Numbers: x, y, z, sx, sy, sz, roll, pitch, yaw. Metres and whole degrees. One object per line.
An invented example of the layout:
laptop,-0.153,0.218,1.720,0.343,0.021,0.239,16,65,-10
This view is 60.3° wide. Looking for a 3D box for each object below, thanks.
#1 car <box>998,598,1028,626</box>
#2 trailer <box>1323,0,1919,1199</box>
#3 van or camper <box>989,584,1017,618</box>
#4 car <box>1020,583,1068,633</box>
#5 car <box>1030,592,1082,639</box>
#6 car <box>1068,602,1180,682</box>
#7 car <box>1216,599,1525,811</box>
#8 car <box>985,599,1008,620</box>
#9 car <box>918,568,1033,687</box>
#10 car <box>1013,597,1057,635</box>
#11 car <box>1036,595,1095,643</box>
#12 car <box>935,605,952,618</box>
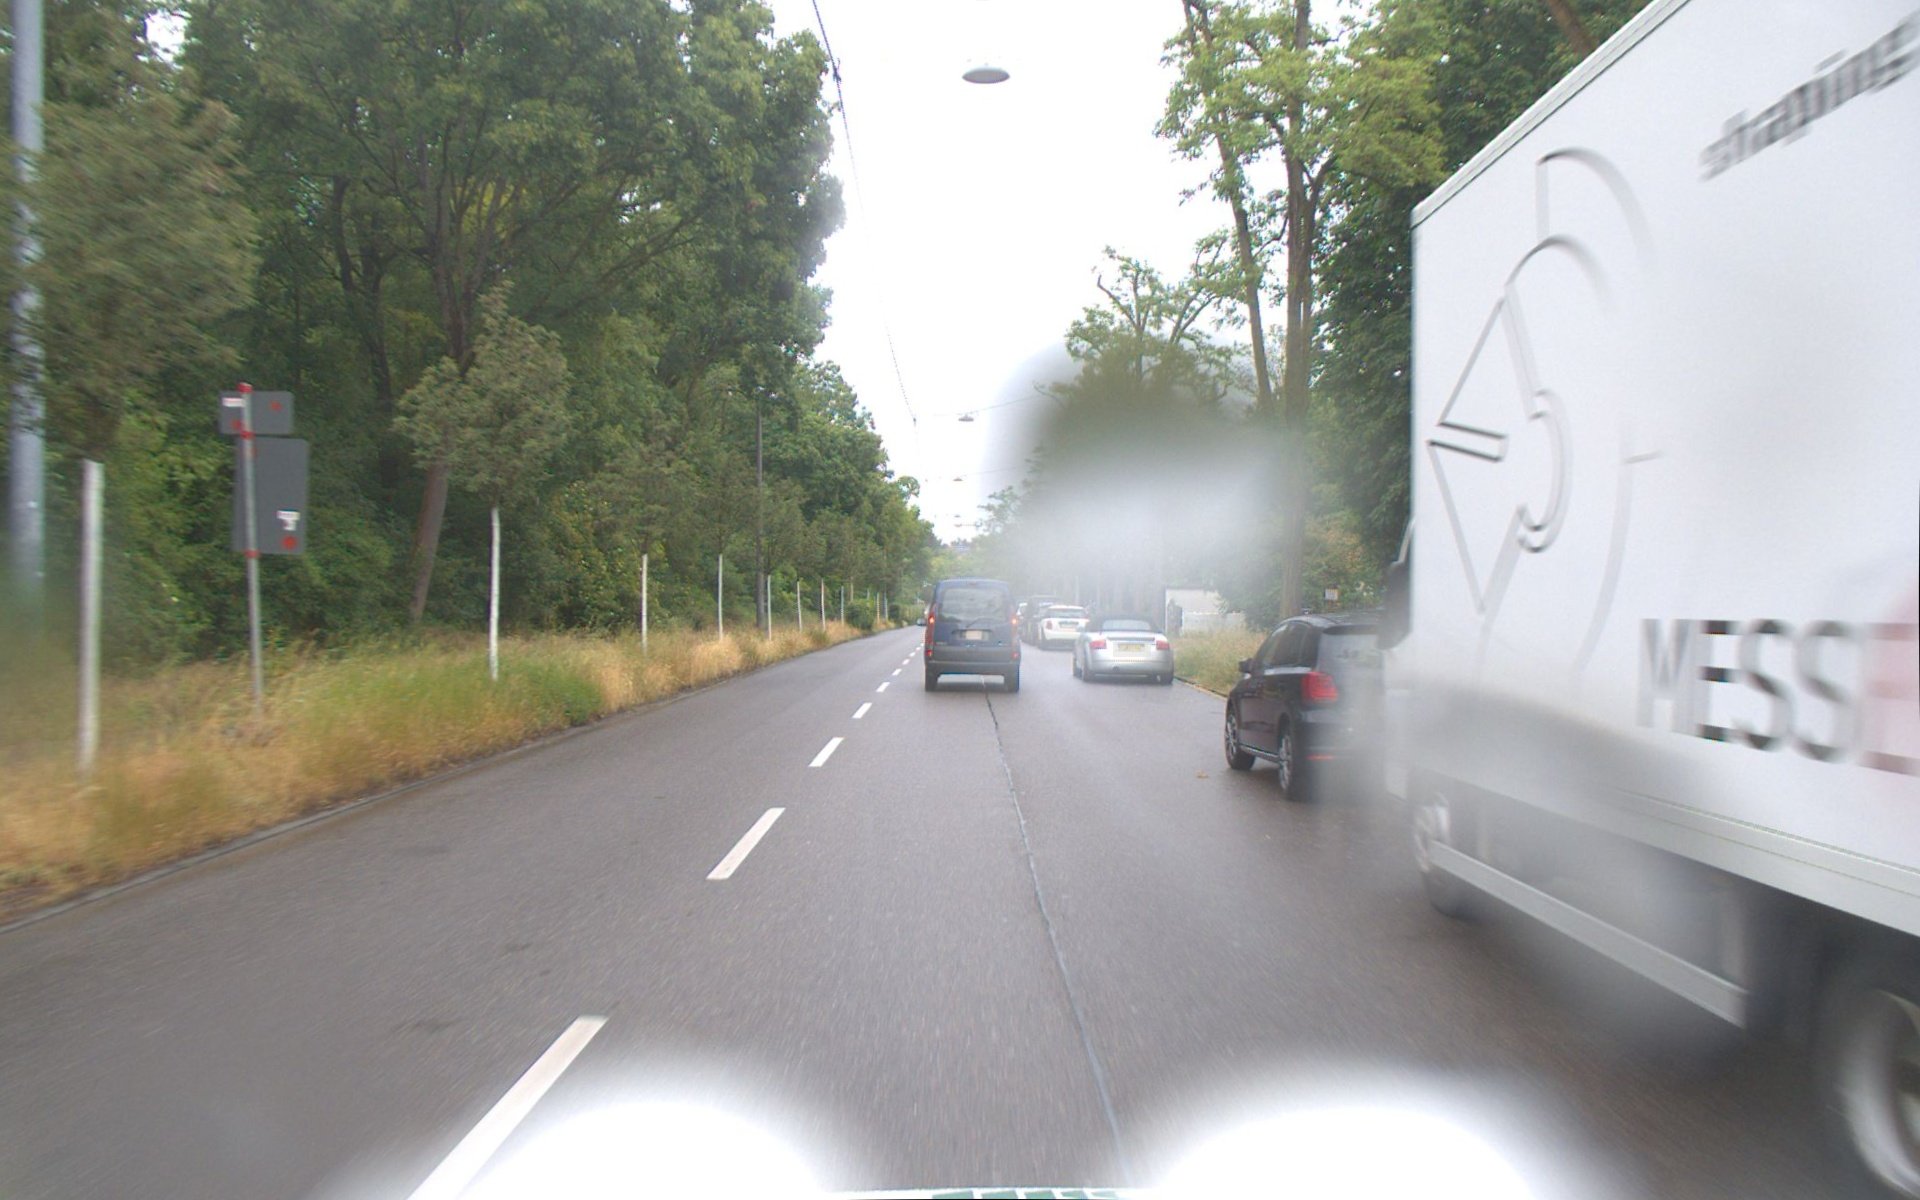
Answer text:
car,3.617,0.812,113.329,1.778,1.845,4.281,2,0,-2
trailer,3.371,-0.293,4.856,2.678,3.569,8.246,1,0,0
van or camper,3.452,0.054,134.005,2.036,2.697,5.346,1,0,0
car,3.334,0.292,66.171,1.694,1.879,4.230,2,0,0
car,3.446,0.526,59.987,1.644,1.583,4.075,2,0,0
car,3.220,0.791,33.118,1.746,1.419,3.999,2,0,-1
car,3.309,0.767,14.084,1.607,1.489,4.000,2,0,0
car,2.808,0.717,126.212,1.592,1.489,3.809,2,0,3
car,0.201,0.432,28.411,1.731,1.862,3.540,2,0,-3
car,3.458,0.725,76.558,1.768,1.641,4.286,2,0,0
car,3.457,0.603,54.733,1.702,1.490,3.725,2,0,0
car,-1.960,1.328,197.838,1.822,1.506,4.156,-1,0,0
